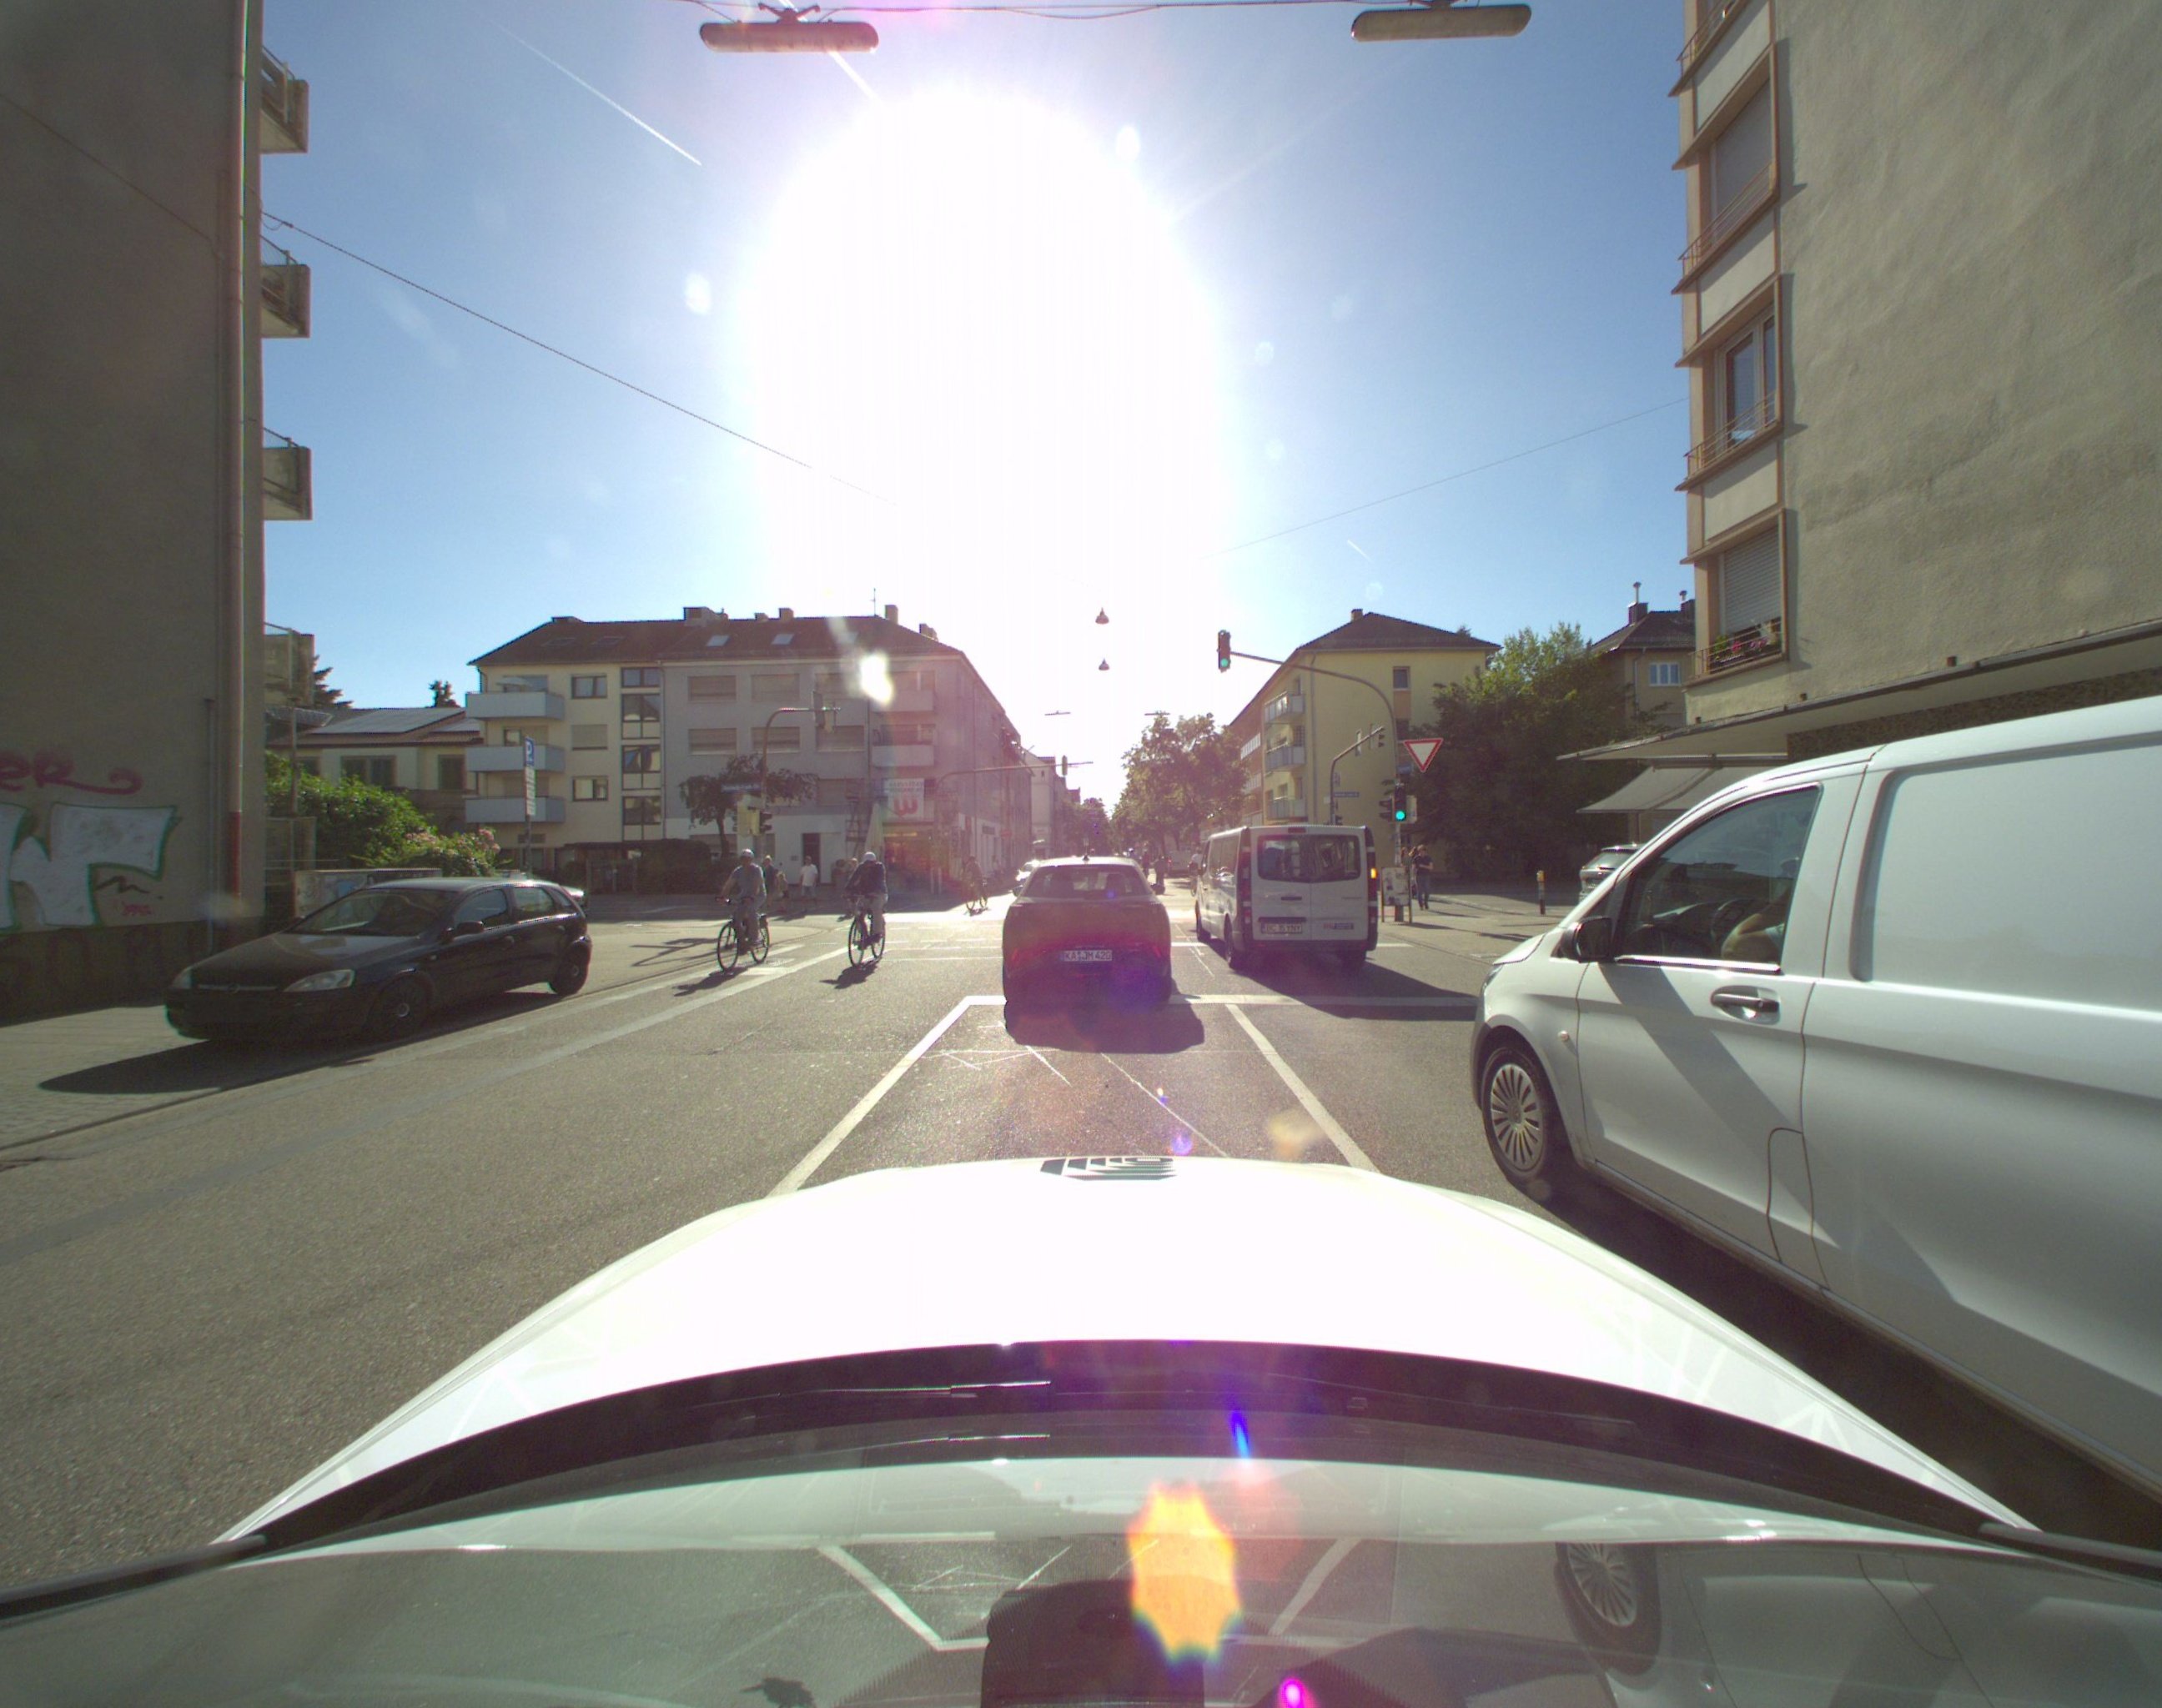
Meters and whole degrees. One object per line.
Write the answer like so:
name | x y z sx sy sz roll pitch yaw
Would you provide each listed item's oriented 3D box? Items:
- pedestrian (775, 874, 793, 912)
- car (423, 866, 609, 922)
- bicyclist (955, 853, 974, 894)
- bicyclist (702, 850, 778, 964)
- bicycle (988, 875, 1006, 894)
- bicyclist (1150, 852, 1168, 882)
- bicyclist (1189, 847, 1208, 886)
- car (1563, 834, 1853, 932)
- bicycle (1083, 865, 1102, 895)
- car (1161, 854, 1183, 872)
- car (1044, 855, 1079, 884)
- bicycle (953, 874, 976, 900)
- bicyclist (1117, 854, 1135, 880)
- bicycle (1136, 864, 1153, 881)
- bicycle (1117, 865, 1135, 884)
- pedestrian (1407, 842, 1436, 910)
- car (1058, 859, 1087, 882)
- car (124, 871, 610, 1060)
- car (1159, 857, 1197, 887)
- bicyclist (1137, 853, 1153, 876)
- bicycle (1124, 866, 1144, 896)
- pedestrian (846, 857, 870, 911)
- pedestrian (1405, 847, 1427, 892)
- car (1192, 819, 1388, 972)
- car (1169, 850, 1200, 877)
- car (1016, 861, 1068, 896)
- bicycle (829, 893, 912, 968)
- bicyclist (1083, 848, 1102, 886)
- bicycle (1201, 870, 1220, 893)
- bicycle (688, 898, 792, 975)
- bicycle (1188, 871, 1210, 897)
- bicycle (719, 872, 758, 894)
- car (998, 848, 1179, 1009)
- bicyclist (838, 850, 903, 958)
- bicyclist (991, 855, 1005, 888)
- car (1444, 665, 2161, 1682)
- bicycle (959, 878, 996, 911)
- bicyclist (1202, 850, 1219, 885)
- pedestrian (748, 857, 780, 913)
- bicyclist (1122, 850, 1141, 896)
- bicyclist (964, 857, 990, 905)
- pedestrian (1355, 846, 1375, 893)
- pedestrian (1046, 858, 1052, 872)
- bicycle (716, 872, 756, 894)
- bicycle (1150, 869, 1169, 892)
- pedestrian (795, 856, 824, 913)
pedestrian | -9.071 1.185 24.904 0.385 1.146 0.531 -1 0 -5
car | -17.034 1.183 24.718 4.238 1.435 1.936 -1 3 1
bicyclist | -4.374 0.732 30.583 0.540 1.520 0.774 -1 0 2
bicyclist | -5.129 0.776 12.308 0.677 1.630 0.899 -3 0 2
bicycle | -3.880 1.398 37.773 0.551 0.833 2.131 0 0 1
bicyclist | 3.184 0.540 33.258 0.689 1.193 0.595 -1 0 3
bicyclist | 4.225 0.452 29.250 0.586 1.382 0.823 -1 0 3
car | 11.528 0.513 15.189 3.972 1.662 1.826 -1 0 1
bicycle | 0.533 1.131 36.487 0.798 1.255 2.139 -1 0 2
car | 8.181 0.788 73.473 1.706 1.483 3.383 -1 0 2
car | -1.108 0.892 47.043 1.585 1.566 4.093 -2 -1 4
bicycle | -4.378 1.227 30.627 0.540 0.902 1.827 -1 0 2
bicyclist | 2.304 0.671 41.740 0.853 1.314 1.211 1 0 1
bicycle | 3.717 1.075 47.576 0.853 0.945 2.308 1 0 2
bicycle | 2.294 1.037 41.725 0.853 0.945 2.308 1 0 2
pedestrian | 9.252 0.596 22.150 0.599 1.822 0.631 -1 0 14
car | -0.588 1.076 55.788 1.799 1.413 4.424 -3 0 -1
car | -6.988 0.956 8.633 1.685 1.448 3.856 1 0 0
car | 5.104 0.934 43.086 1.706 1.483 3.482 -1 0 2
bicyclist | 3.734 0.602 47.571 0.853 1.314 1.211 1 0 1
bicycle | 1.948 0.979 30.167 0.630 1.041 1.796 -2 0 2
pedestrian | -6.614 0.877 24.149 0.529 1.581 0.563 -1 0 1
pedestrian | 11.878 0.548 28.905 0.537 1.571 0.539 -1 0 1
car | 3.011 0.551 12.938 1.961 1.940 5.057 0 0 2
car | 7.660 0.674 60.678 2.037 1.846 4.589 -1 0 4
car | -1.738 1.086 37.477 1.829 1.433 4.181 -1 0 4
bicycle | -3.205 1.137 12.588 0.677 0.952 1.934 -3 0 2
bicyclist | 0.521 0.586 36.401 0.798 1.649 1.125 -1 0 1
bicycle | 5.226 1.106 32.840 0.544 0.866 1.878 -1 0 3
bicycle | -5.109 1.205 12.345 0.677 0.952 1.934 -3 0 2
bicycle | 4.243 1.068 29.375 0.617 0.866 1.878 -1 0 3
bicycle | -15.604 1.309 37.106 1.582 0.940 0.513 -1 0 3
car | 0.131 0.749 10.008 1.756 1.558 4.001 -1 -1 2
bicyclist | -3.228 0.742 12.561 0.677 1.576 0.899 -3 0 2
bicyclist | -3.869 0.811 38.089 0.551 1.549 0.814 0 -1 0
car | 2.901 0.560 1.909 1.961 1.810 4.832 -1 -1 0
bicycle | -3.066 1.190 24.356 0.539 0.902 1.831 -1 0 11
bicyclist | 5.207 0.525 32.731 0.544 1.382 0.823 -1 0 3
pedestrian | -9.784 0.942 25.165 0.570 1.683 0.969 -1 0 3
bicyclist | 1.858 0.699 30.122 0.630 1.669 1.051 -2 0 1
bicyclist | -3.093 0.786 24.241 0.539 1.391 0.791 -1 0 10
pedestrian | 10.832 0.572 31.066 0.524 1.762 0.623 -1 0 0
pedestrian | -3.466 1.181 87.846 0.576 1.583 0.707 -1 0 -4
bicycle | -15.447 1.301 36.454 1.582 0.940 0.513 -1 0 3
bicycle | 3.190 1.084 33.177 0.688 0.866 1.878 -1 0 3
pedestrian | -8.212 0.903 24.660 0.570 1.689 0.670 -1 0 4
